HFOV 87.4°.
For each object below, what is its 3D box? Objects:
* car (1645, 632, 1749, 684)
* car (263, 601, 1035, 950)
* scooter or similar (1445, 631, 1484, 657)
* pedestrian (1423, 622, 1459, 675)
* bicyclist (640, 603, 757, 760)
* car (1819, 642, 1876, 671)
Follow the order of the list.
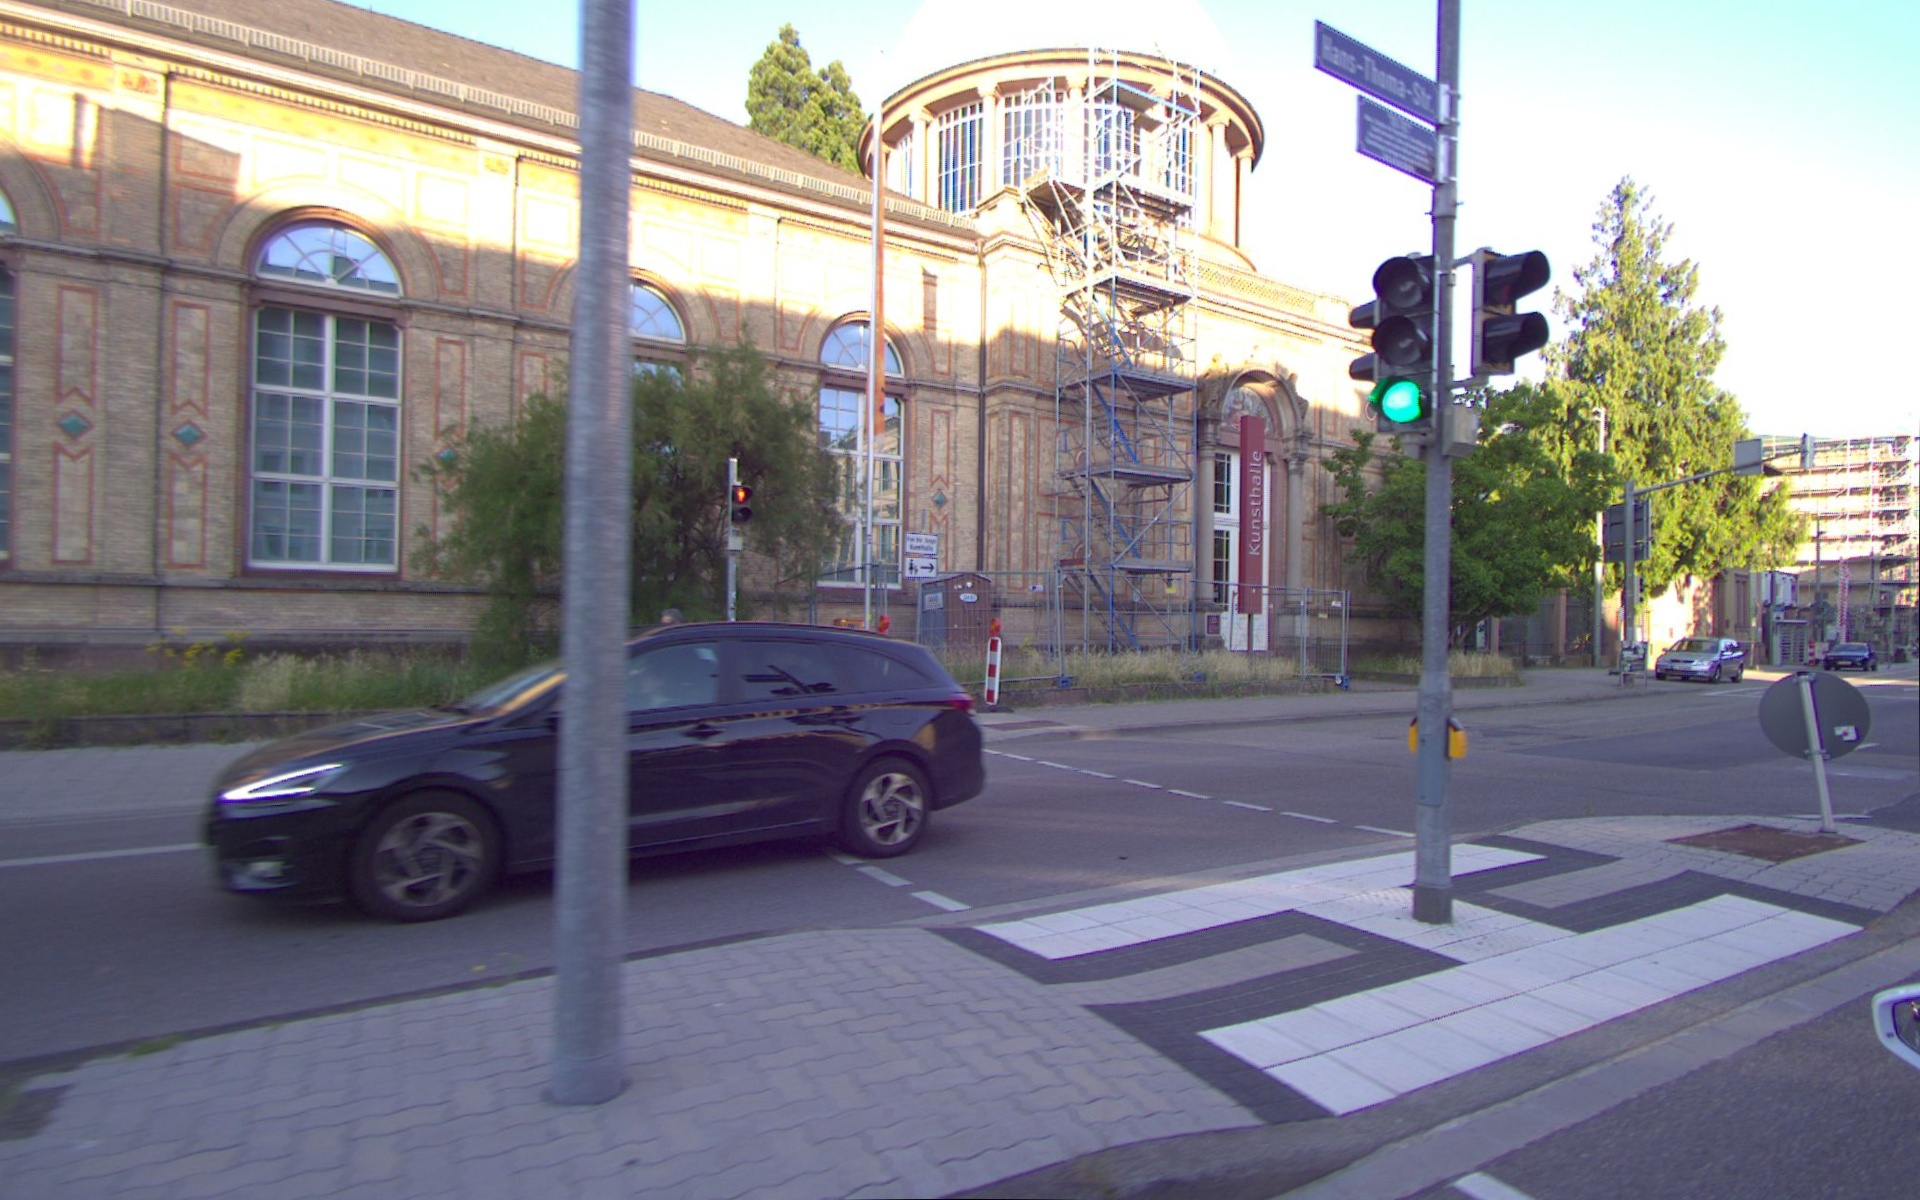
[{"bbox_3d":[24.608,1.904,33.506,4.332,1.568,1.730,2,0,-39],"label":"car"},{"bbox_3d":[-1.776,0.831,6.436,4.384,1.528,1.811,2,-1,-36],"label":"car"},{"bbox_3d":[15.264,1.327,30.406,1.019,0.788,0.673,2,-1,-37],"label":"scooter or similar"},{"bbox_3d":[14.828,1.491,30.990,0.755,1.600,0.730,1,-1,-36],"label":"pedestrian"},{"bbox_3d":[-2.615,0.790,10.044,0.928,1.479,0.742,2,-3,-36],"label":"bicyclist"},{"bbox_3d":[43.740,2.756,49.483,3.858,1.369,1.665,2,-3,-42],"label":"car"}]
